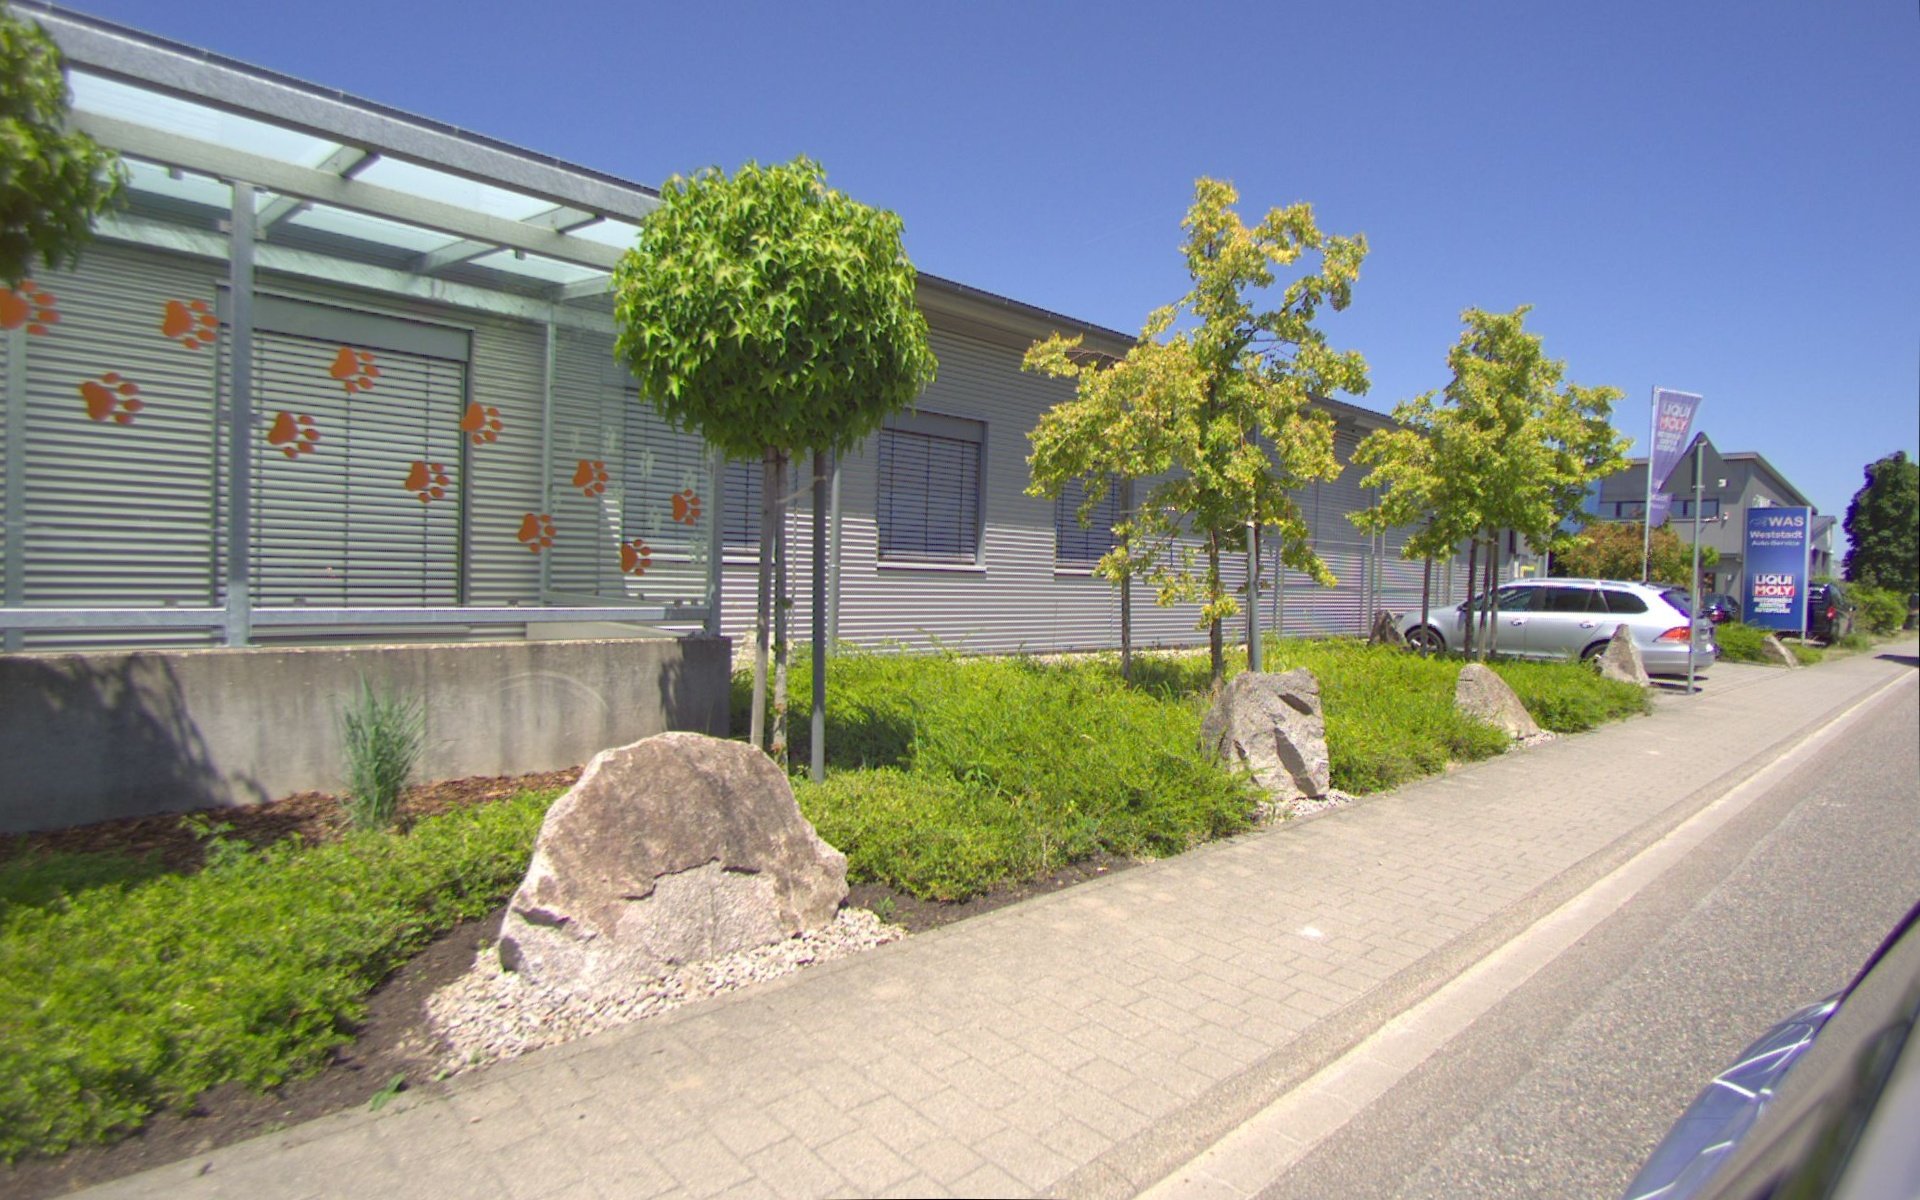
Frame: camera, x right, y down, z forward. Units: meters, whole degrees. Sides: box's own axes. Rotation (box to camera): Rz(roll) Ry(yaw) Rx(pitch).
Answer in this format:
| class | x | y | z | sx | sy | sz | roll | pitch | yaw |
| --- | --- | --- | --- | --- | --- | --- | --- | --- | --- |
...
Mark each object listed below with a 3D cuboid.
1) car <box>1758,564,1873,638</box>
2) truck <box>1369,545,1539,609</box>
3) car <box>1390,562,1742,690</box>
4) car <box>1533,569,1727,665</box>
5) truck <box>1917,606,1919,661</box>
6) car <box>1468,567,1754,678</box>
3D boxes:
| class | x | y | z | sx | sy | sz | roll | pitch | yaw |
| --- | --- | --- | --- | --- | --- | --- | --- | --- | --- |
| car | 26.278 | 0.015 | 31.017 | 5.246 | 2.038 | 1.996 | 0 | 2 | -43 |
| truck | 20.515 | -1.016 | 42.293 | 2.143 | 2.399 | 5.944 | 0 | 3 | -42 |
| car | 9.150 | 0.282 | 15.533 | 4.282 | 1.560 | 1.882 | 5 | 3 | 44 |
| car | 12.520 | 0.261 | 18.986 | 1.388 | 1.560 | 2.712 | 1 | 3 | -41 |
| truck | 24.817 | -0.183 | 23.986 | 6.763 | 3.245 | 2.461 | 0 | 2 | -42 |
| car | 11.018 | 0.299 | 17.299 | 1.880 | 1.560 | 3.700 | 0 | 3 | -41 |
